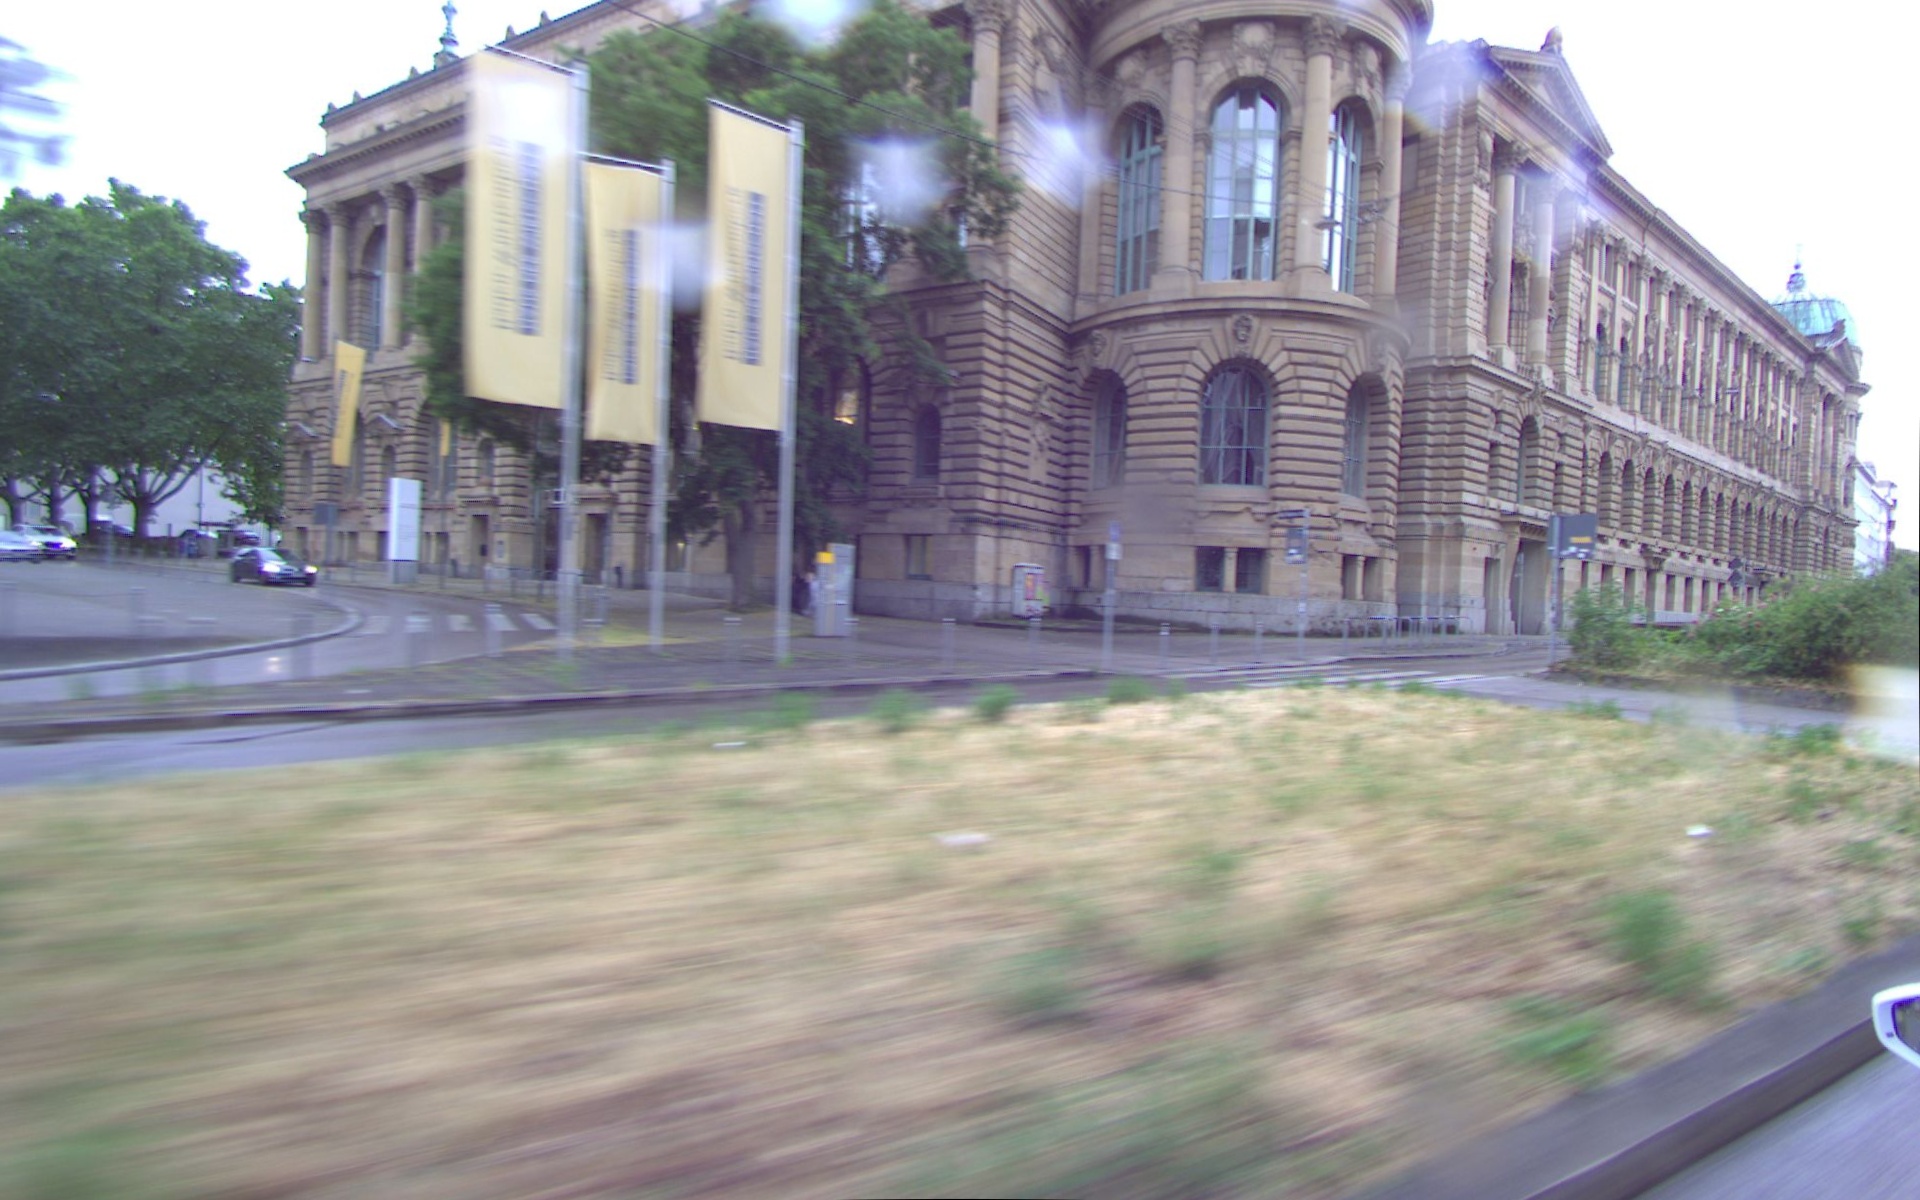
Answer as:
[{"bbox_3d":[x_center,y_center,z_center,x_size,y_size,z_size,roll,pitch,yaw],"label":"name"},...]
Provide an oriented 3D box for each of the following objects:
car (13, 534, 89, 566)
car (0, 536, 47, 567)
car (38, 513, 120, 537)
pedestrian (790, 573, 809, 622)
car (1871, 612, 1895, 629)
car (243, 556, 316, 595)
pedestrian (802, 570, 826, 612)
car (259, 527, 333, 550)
[{"bbox_3d":[-48.090,-2.632,53.142,4.141,1.577,1.995,3,1,33],"label":"car"},{"bbox_3d":[-41.476,-2.110,43.935,3.564,1.265,1.613,2,1,36],"label":"car"},{"bbox_3d":[-81.464,-6.931,92.909,6.165,1.983,2.315,2,1,9],"label":"car"},{"bbox_3d":[-5.127,-0.095,32.109,0.380,1.549,0.440,2,1,32],"label":"pedestrian"},{"bbox_3d":[117.361,2.588,127.684,1.973,1.908,4.895,4,2,45],"label":"car"},{"bbox_3d":[-26.670,-0.968,39.333,3.571,1.422,1.610,2,1,43],"label":"car"},{"bbox_3d":[-4.734,-0.294,32.666,0.434,1.363,0.643,2,1,32],"label":"pedestrian"},{"bbox_3d":[-65.529,-6.032,99.181,6.165,1.983,2.315,2,1,9],"label":"car"}]
